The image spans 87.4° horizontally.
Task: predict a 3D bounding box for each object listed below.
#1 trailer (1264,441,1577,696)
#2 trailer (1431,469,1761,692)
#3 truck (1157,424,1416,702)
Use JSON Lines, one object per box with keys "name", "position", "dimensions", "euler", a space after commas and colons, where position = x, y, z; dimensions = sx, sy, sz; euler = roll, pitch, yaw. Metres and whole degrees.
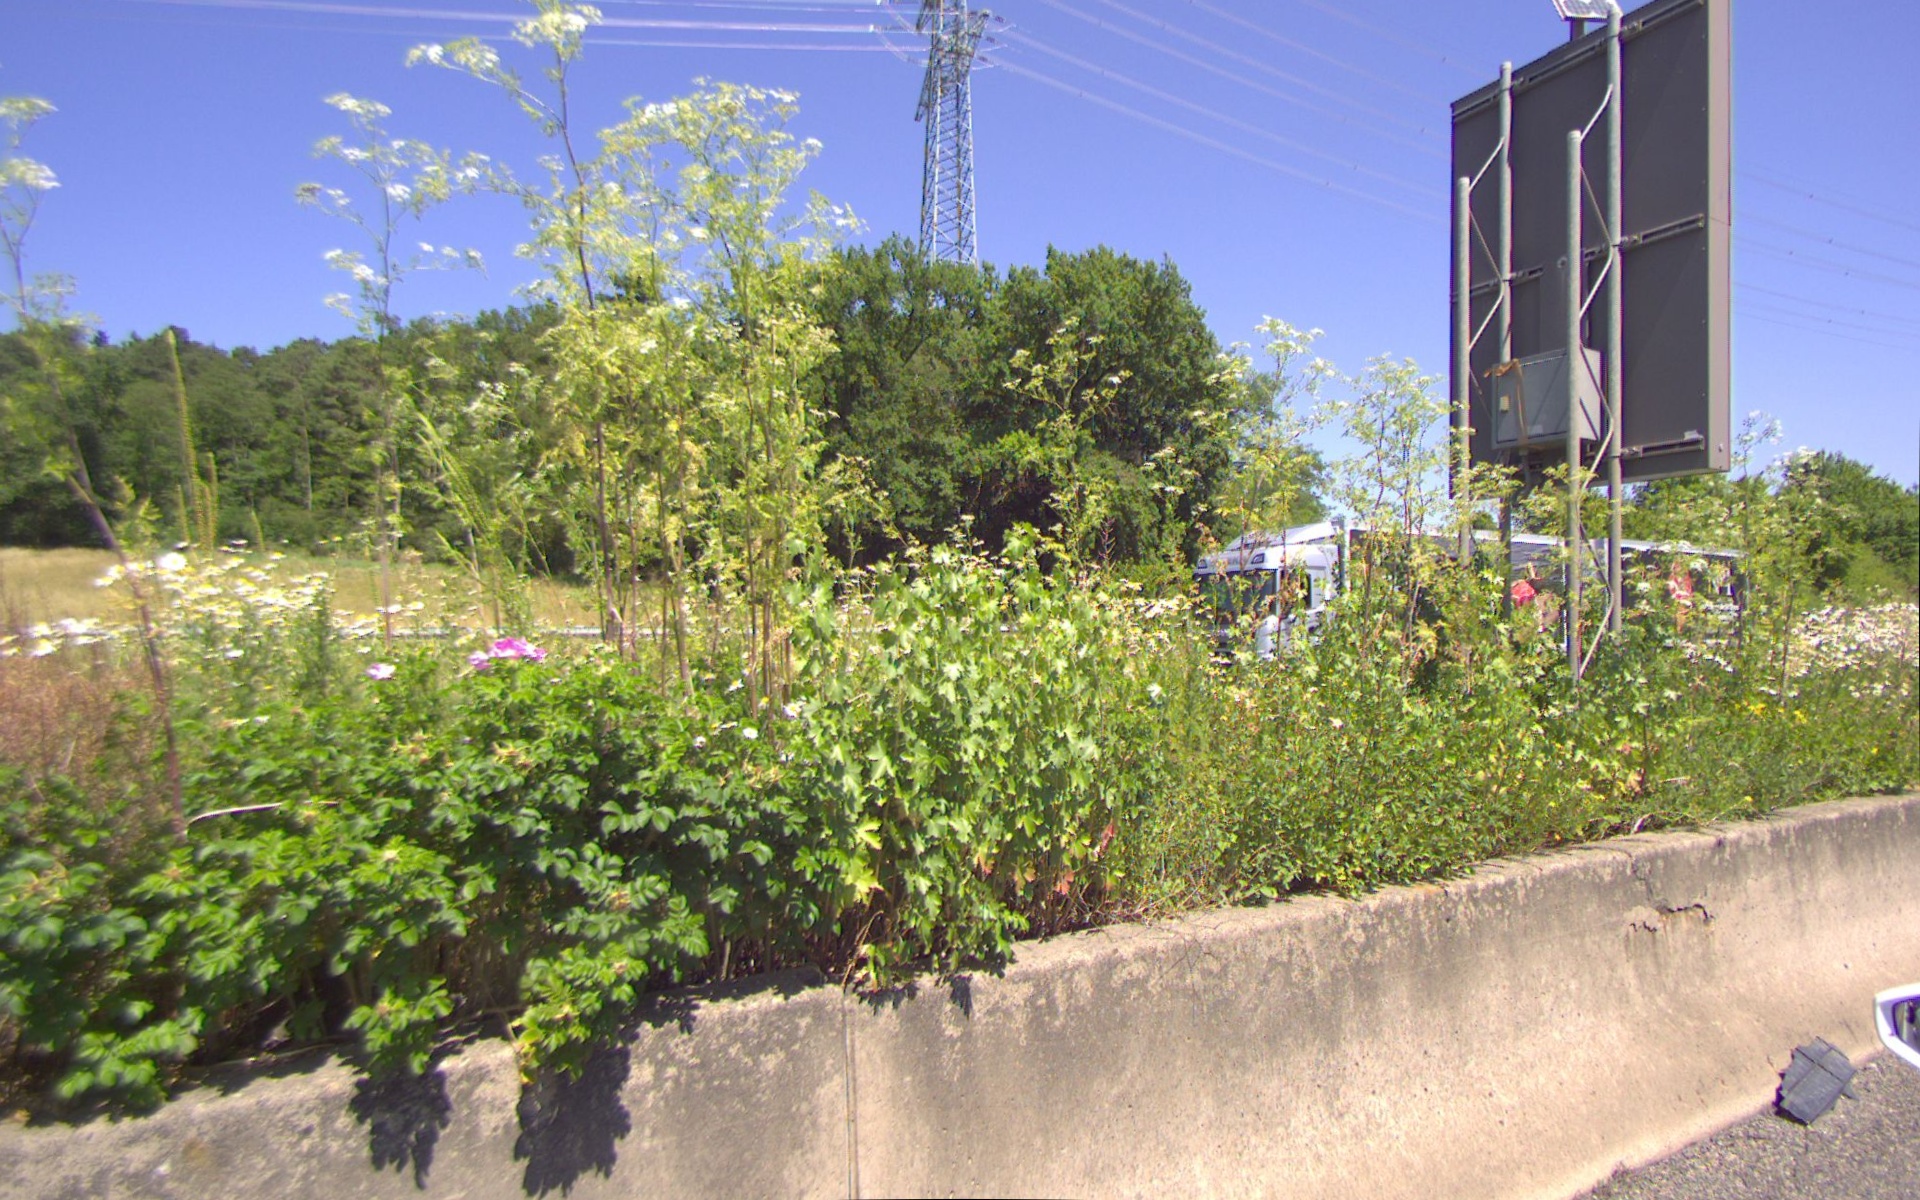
{"name": "trailer", "position": [10.670, -0.514, 23.197], "dimensions": [6.623, 5.114, 3.308], "euler": [2, -1, -29]}
{"name": "trailer", "position": [17.103, -0.281, 26.786], "dimensions": [9.474, 5.114, 3.308], "euler": [2, -1, -29]}
{"name": "truck", "position": [6.746, -0.632, 20.912], "dimensions": [3.984, 5.117, 3.288], "euler": [1, -1, -29]}
